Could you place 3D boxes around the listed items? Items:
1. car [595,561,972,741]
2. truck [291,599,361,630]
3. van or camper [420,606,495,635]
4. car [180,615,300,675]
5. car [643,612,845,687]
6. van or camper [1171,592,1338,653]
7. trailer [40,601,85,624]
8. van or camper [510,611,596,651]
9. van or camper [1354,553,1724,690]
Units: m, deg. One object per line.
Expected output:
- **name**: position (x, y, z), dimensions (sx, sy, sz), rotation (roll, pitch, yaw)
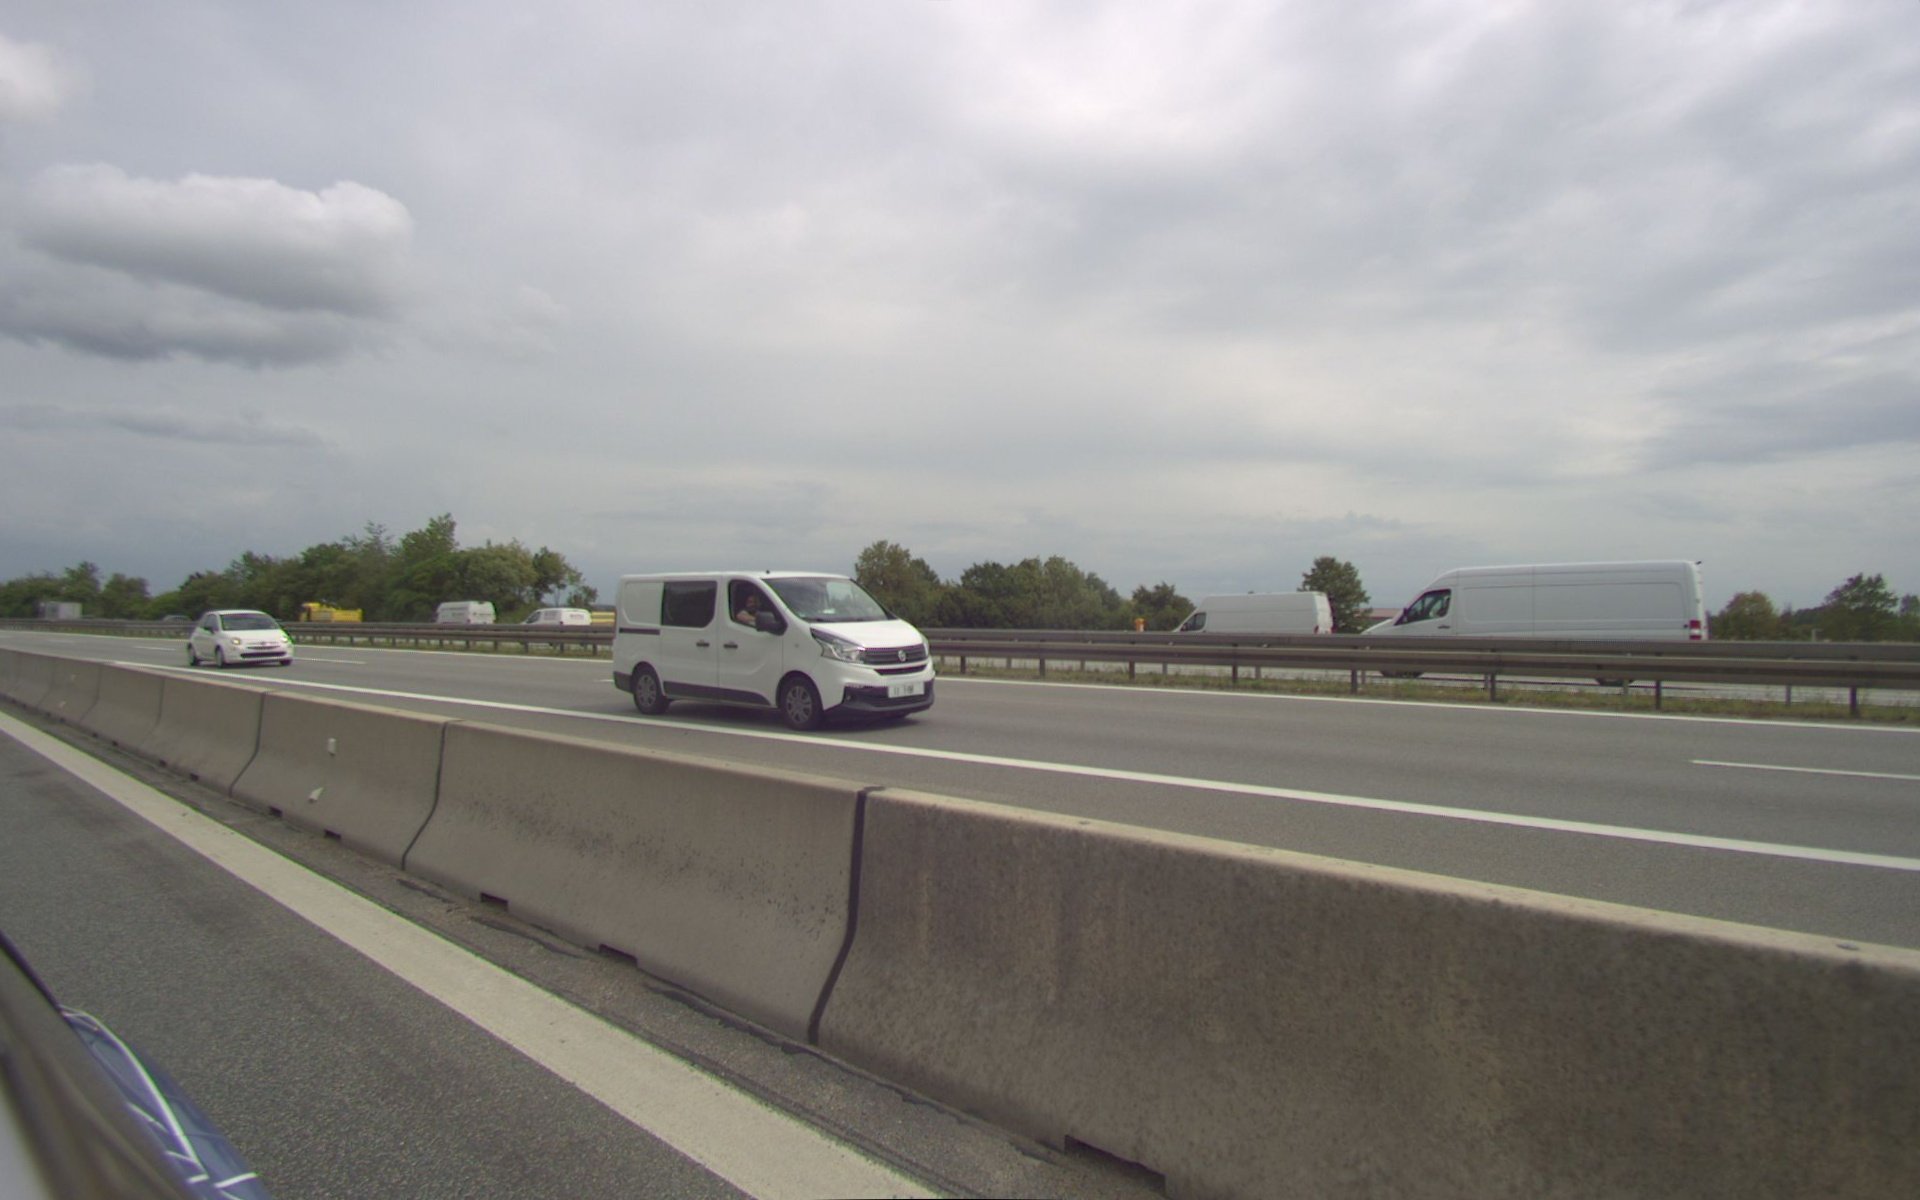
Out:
- **car**: position (-2.483, 0.558, 13.365), dimensions (5.125, 1.952, 1.981), rotation (-1, 0, 38)
- **truck**: position (-61.056, 1.398, 97.330), dimensions (8.767, 2.795, 2.879), rotation (-1, -1, 38)
- **van or camper**: position (-36.297, 1.466, 73.017), dimensions (6.266, 2.029, 2.215), rotation (-1, -1, 36)
- **car**: position (-19.367, 1.157, 27.177), dimensions (3.770, 1.496, 1.664), rotation (-1, -1, 39)
- **car**: position (-4.475, 0.949, 20.703), dimensions (4.198, 1.379, 1.736), rotation (-1, -1, 37)
- **van or camper**: position (11.255, 0.851, 38.920), dimensions (5.800, 2.188, 2.166), rotation (-1, -1, 37)
- **trailer**: position (-132.591, 1.887, 149.465), dimensions (9.810, 3.294, 3.167), rotation (-1, 0, 38)
- **van or camper**: position (-19.569, 1.459, 48.583), dimensions (4.343, 1.842, 1.974), rotation (-1, -1, 39)
- **van or camper**: position (12.649, 0.456, 22.512), dimensions (6.895, 2.639, 2.166), rotation (-1, -1, 38)
